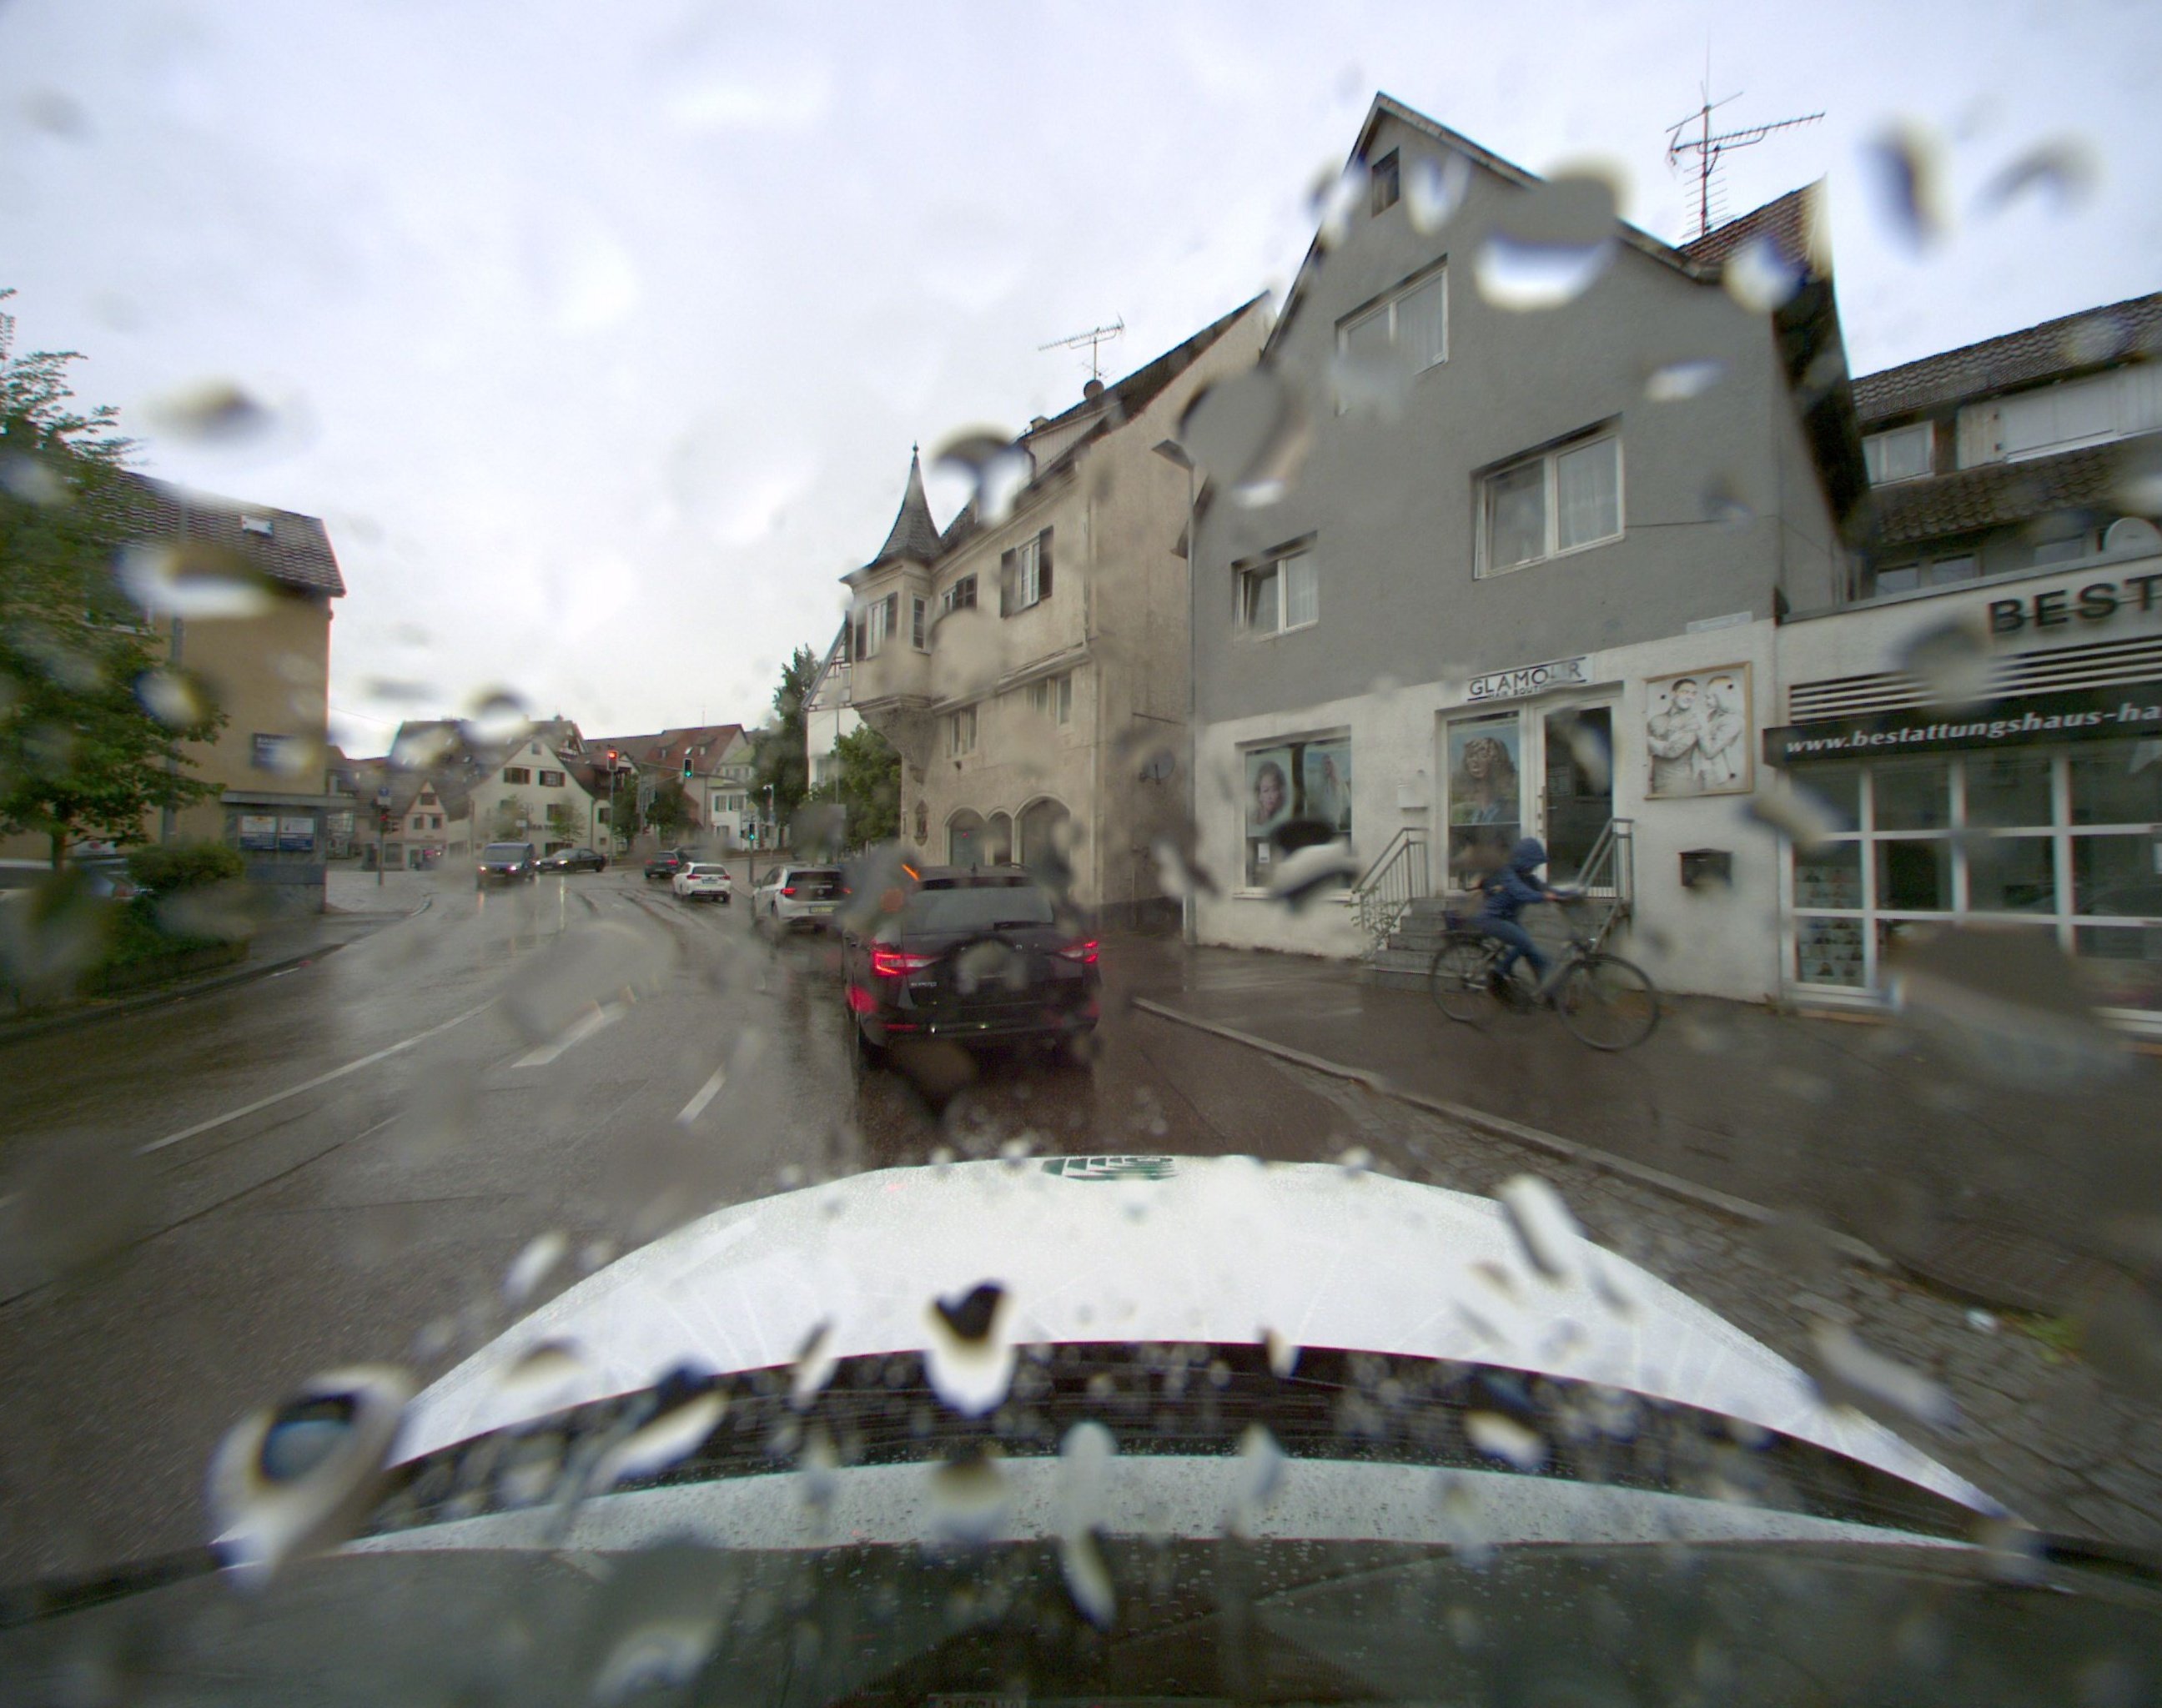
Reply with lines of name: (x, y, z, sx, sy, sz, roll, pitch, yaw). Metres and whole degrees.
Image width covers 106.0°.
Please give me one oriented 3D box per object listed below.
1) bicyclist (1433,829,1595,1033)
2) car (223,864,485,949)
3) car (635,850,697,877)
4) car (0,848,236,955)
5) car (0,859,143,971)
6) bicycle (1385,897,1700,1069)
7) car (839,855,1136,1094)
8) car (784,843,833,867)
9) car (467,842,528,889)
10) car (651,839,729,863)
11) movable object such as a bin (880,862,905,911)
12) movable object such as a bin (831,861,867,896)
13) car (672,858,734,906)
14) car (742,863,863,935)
bicyclist: (3.522, 0.568, 6.641, 1.017, 1.518, 0.689, 0, 0, 44)
car: (-15.841, 1.046, 17.933, 1.875, 1.453, 4.026, 1, 2, 38)
car: (-22.327, 0.493, 43.993, 1.995, 1.301, 3.984, 0, 2, -12)
car: (-21.865, 0.999, 17.434, 1.938, 1.824, 4.967, 2, 6, 39)
car: (-16.807, 0.887, 11.953, 1.974, 1.629, 3.668, -1, -1, 31)
bicycle: (3.590, 0.922, 6.482, 2.055, 1.035, 0.768, 1, 0, 44)
car: (-1.171, 0.758, 7.362, 1.892, 1.448, 4.331, 0, 0, -17)
car: (-19.642, 0.105, 58.755, 1.571, 1.524, 3.446, -7, -3, 15)
car: (-26.107, 0.454, 36.588, 2.008, 1.881, 4.333, -1, 2, -33)
car: (-27.257, -0.244, 56.893, 1.975, 1.590, 4.506, 1, 2, 43)
movable object such as a bin: (-5.808, 0.990, 25.125, 0.636, 1.441, 0.416, 3, 3, 34)
movable object such as a bin: (-9.103, 0.947, 31.992, 1.161, 1.313, 1.176, 0, -1, -27)
car: (-14.916, 1.022, 32.001, 1.897, 1.595, 4.285, -1, 2, -29)
car: (-6.661, 1.005, 19.217, 1.869, 1.473, 3.960, -1, -1, -31)
